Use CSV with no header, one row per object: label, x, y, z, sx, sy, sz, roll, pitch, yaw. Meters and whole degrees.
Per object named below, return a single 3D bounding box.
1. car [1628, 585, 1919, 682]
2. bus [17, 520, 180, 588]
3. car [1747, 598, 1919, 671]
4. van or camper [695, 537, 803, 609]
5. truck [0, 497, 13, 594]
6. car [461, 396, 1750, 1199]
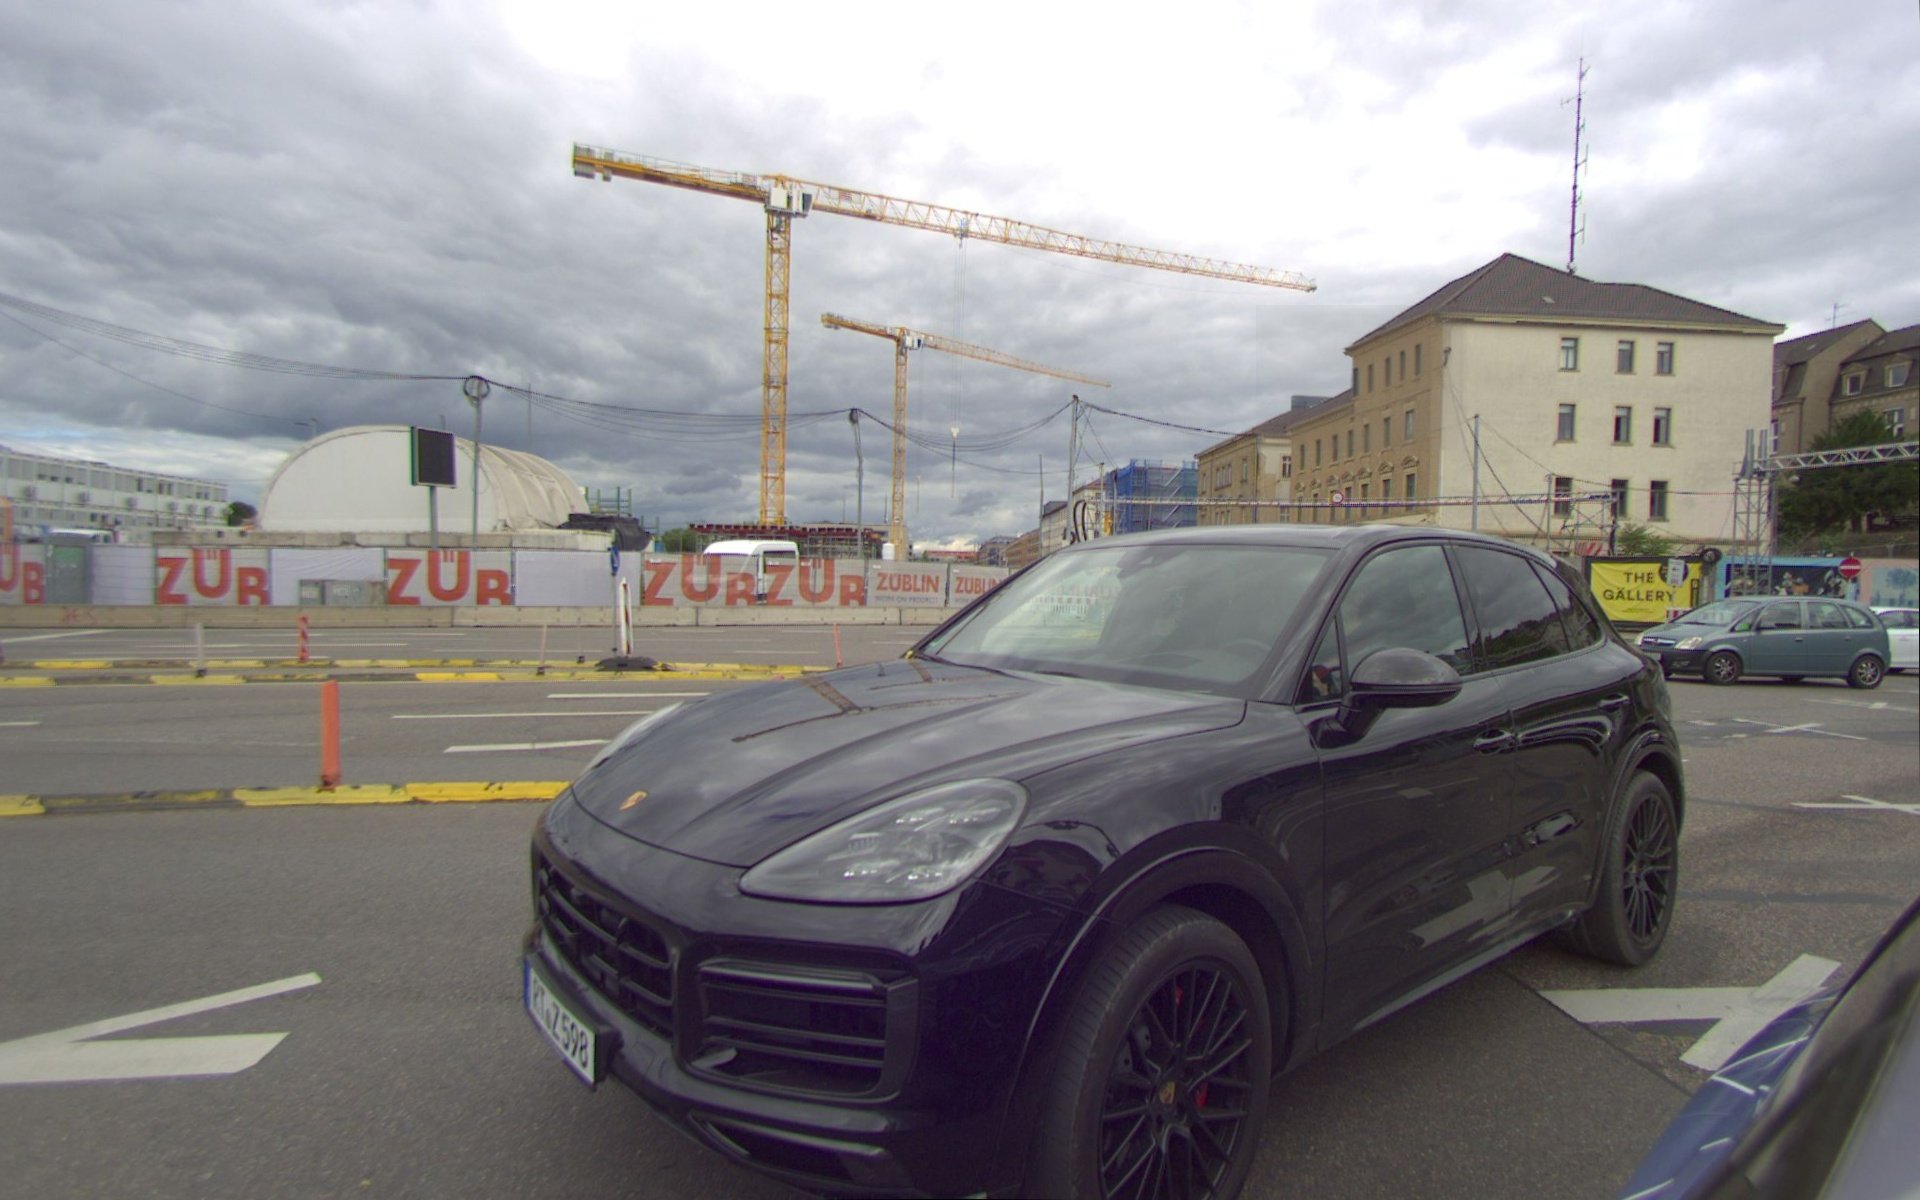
car,14.495,0.567,18.129,3.879,1.593,1.693,0,2,-1
bus,-45.779,-2.292,54.250,2.754,3.209,9.421,2,0,-14
car,19.376,0.727,21.491,4.008,1.434,1.693,1,0,-1
van or camper,-7.116,-0.962,34.550,1.973,2.254,3.981,2,3,16
truck,-36.568,-1.972,34.589,2.849,3.720,9.048,1,1,-21
car,0.916,0.521,3.606,4.524,1.668,1.956,0,2,-38
